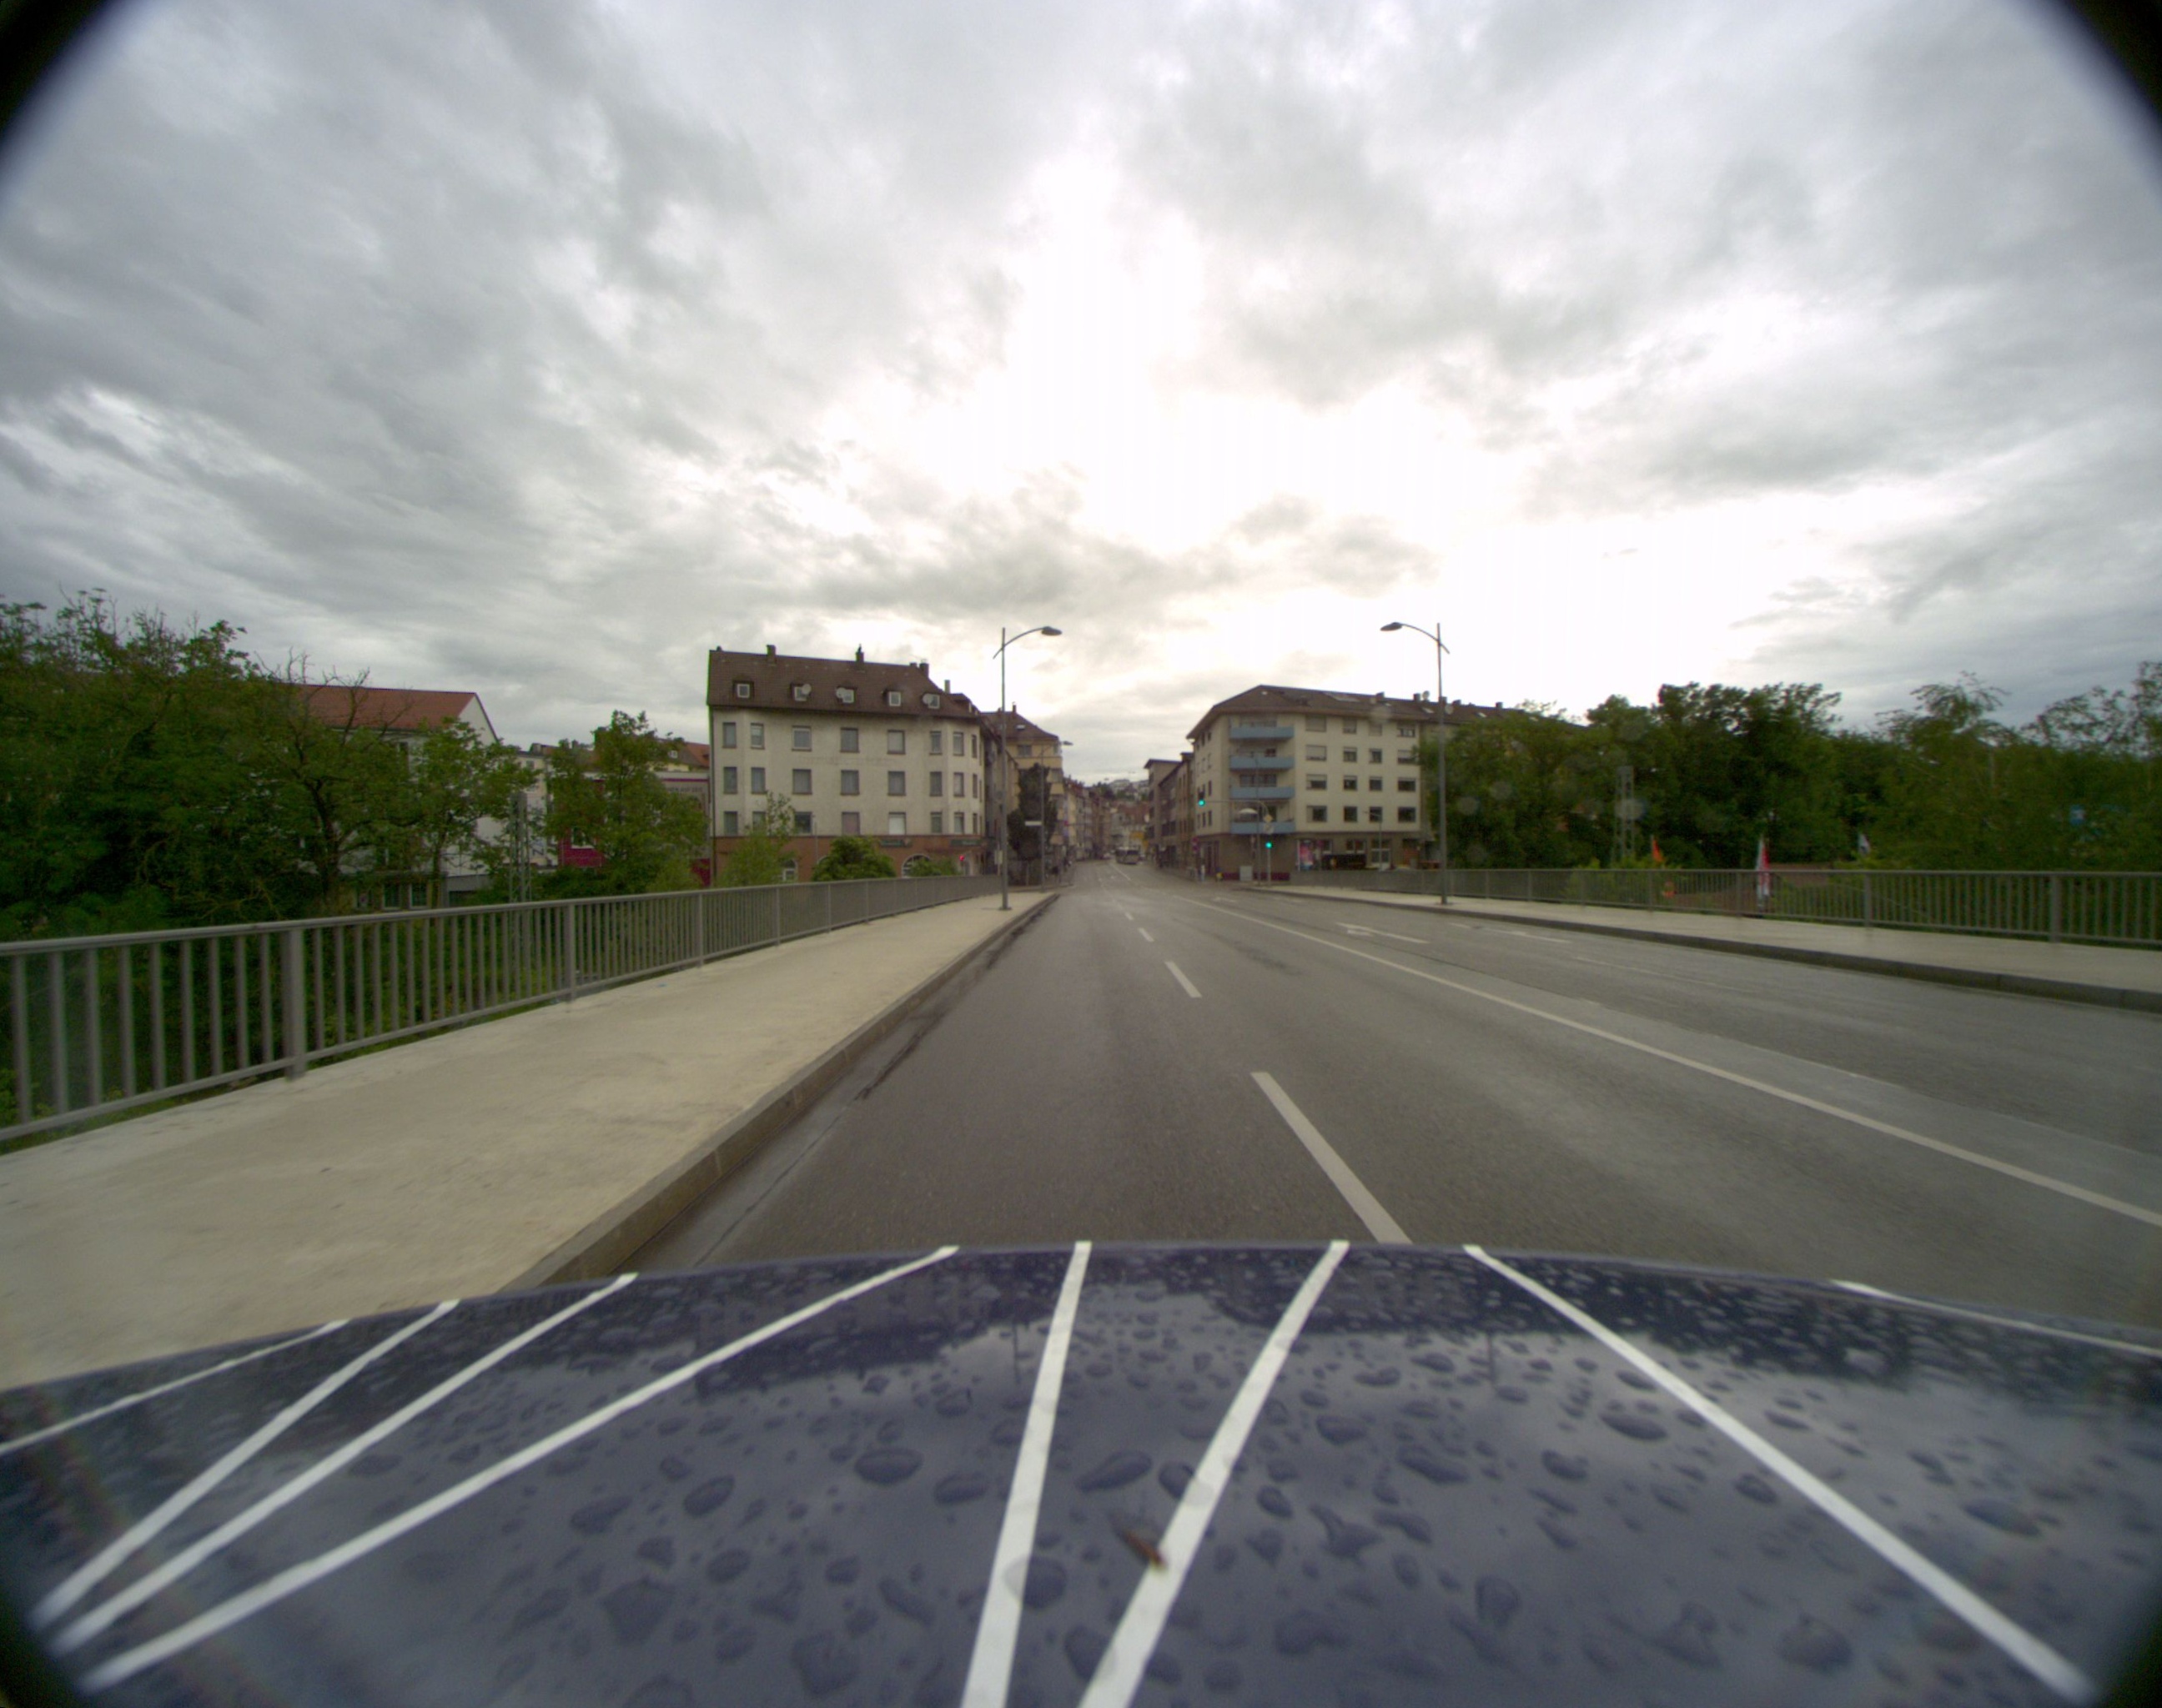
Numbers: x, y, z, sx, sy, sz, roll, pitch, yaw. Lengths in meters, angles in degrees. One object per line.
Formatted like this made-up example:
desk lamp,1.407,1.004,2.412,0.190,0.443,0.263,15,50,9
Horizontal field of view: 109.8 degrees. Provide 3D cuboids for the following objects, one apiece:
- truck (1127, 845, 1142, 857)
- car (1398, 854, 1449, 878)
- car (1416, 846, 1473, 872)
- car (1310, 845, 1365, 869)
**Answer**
truck,9.976,-0.556,141.007,2.475,2.002,4.819,-2,1,1
car,31.506,1.081,69.869,4.361,2.002,2.129,-2,2,-29
car,30.630,0.356,64.041,4.361,2.002,2.129,-2,2,-29
car,23.321,0.291,69.095,4.359,2.002,2.131,-2,1,-20
